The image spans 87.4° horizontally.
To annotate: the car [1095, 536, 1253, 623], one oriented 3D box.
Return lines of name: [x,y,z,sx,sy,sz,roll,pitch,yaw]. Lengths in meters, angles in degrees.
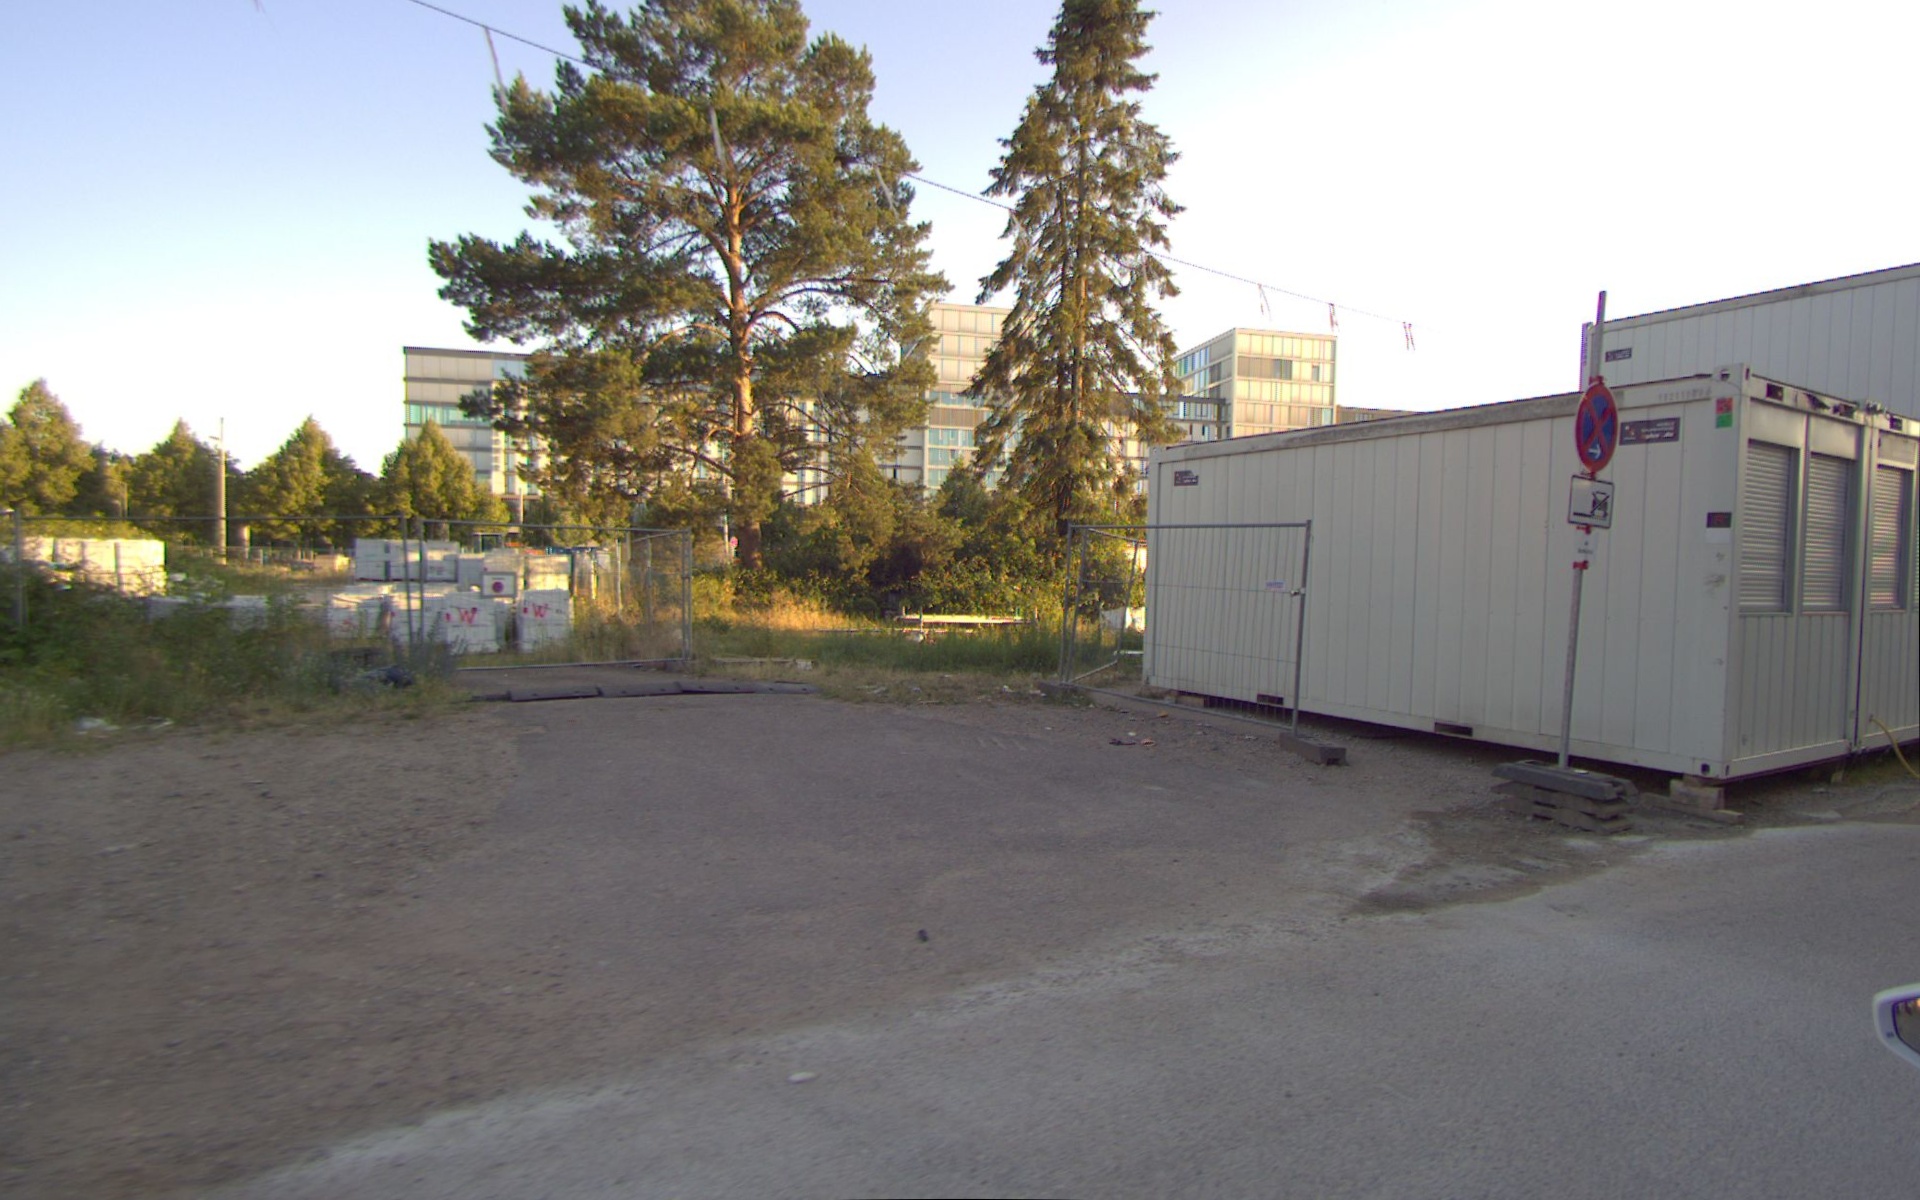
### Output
car: [7.110,-0.658,33.373,4.788,2.728,1.989,1,2,-23]

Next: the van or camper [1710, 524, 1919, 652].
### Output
van or camper: [24.405,-0.288,25.128,2.563,3.090,8.726,0,1,-29]
